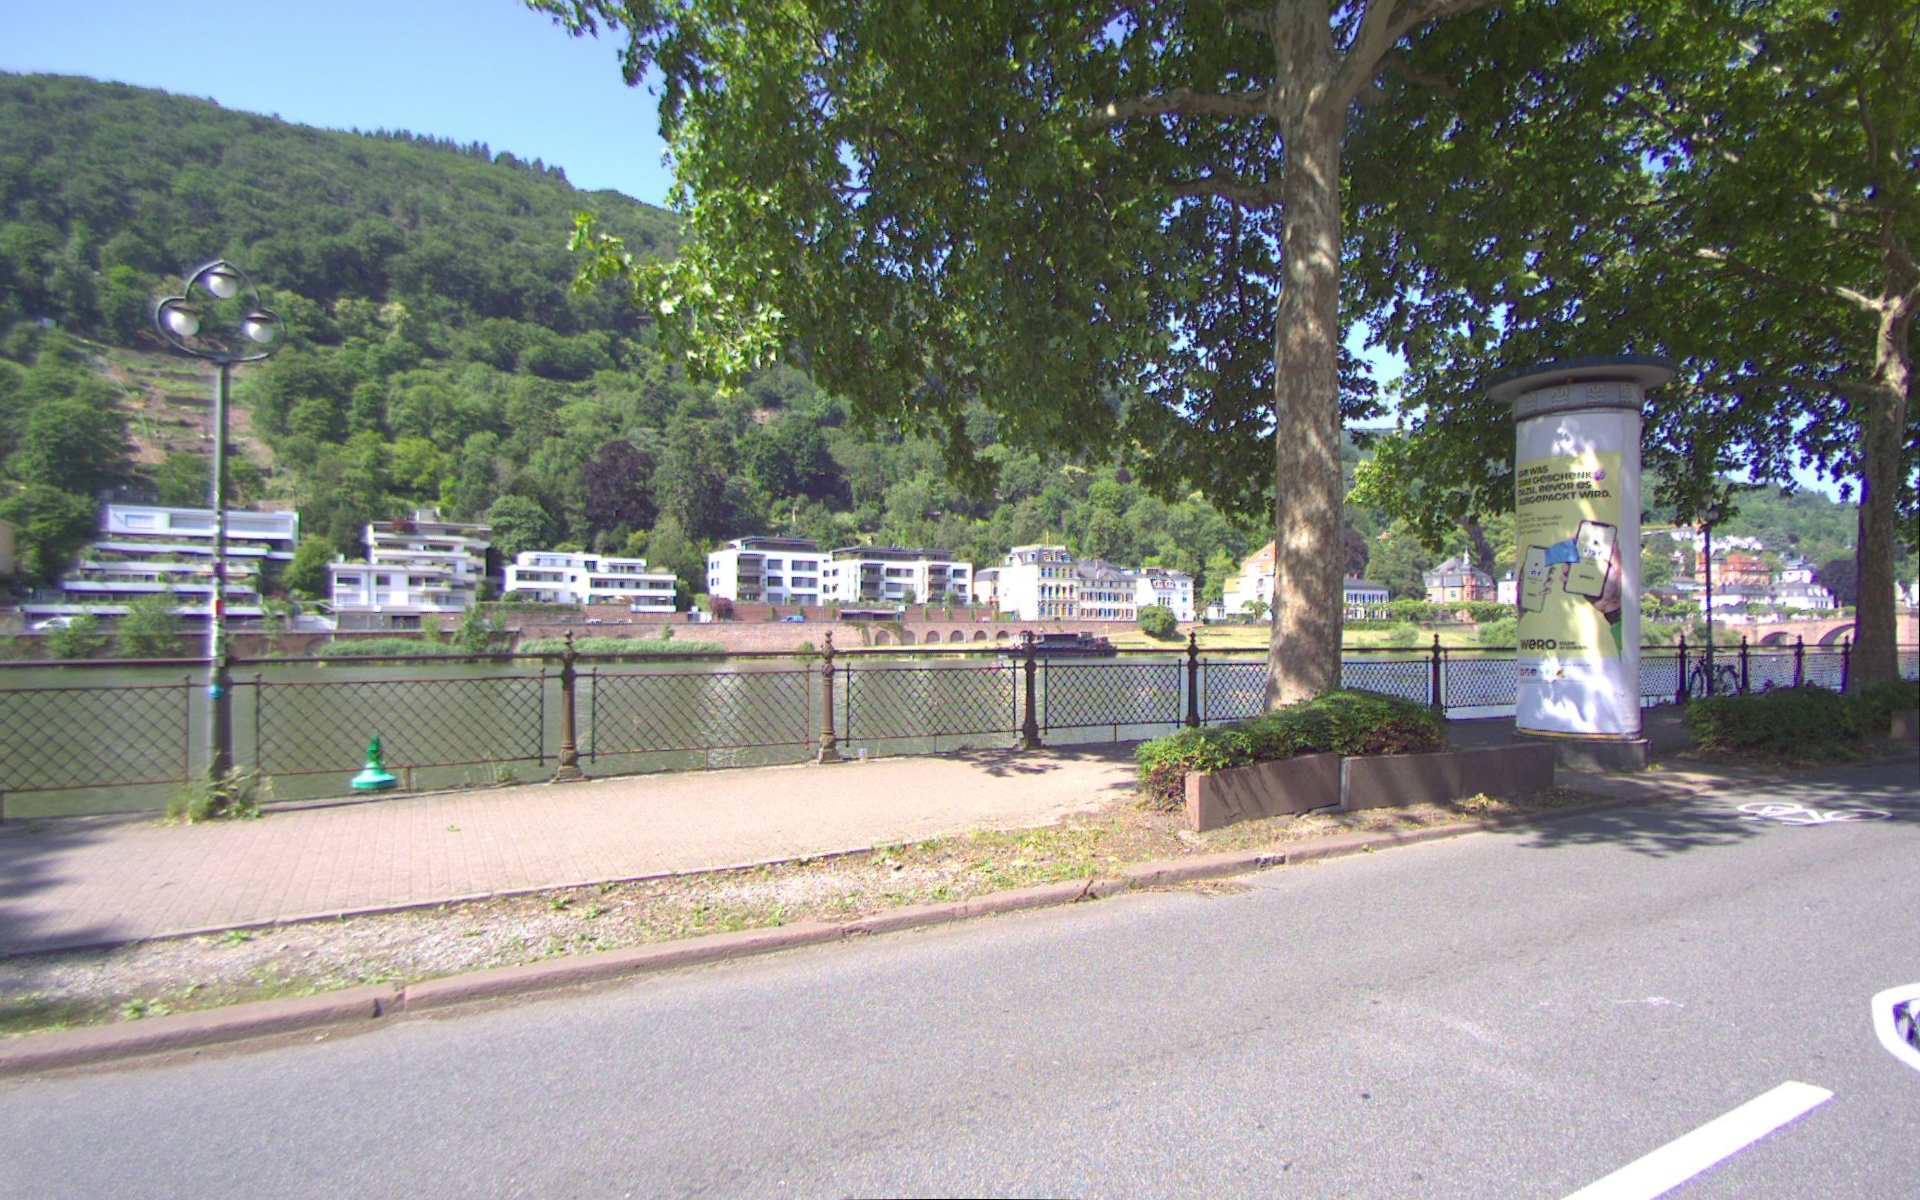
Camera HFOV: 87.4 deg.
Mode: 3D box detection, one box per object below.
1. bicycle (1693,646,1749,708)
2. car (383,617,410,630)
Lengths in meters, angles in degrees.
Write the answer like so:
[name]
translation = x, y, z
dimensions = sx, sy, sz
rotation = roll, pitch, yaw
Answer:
[bicycle]
translation = 14.371, 1.438, 18.969
dimensions = 1.281, 1.106, 0.357
rotation = 1, 2, -31
[car]
translation = -95.415, 3.901, 170.101
dimensions = 3.953, 2.041, 1.984
rotation = -1, 1, -30
